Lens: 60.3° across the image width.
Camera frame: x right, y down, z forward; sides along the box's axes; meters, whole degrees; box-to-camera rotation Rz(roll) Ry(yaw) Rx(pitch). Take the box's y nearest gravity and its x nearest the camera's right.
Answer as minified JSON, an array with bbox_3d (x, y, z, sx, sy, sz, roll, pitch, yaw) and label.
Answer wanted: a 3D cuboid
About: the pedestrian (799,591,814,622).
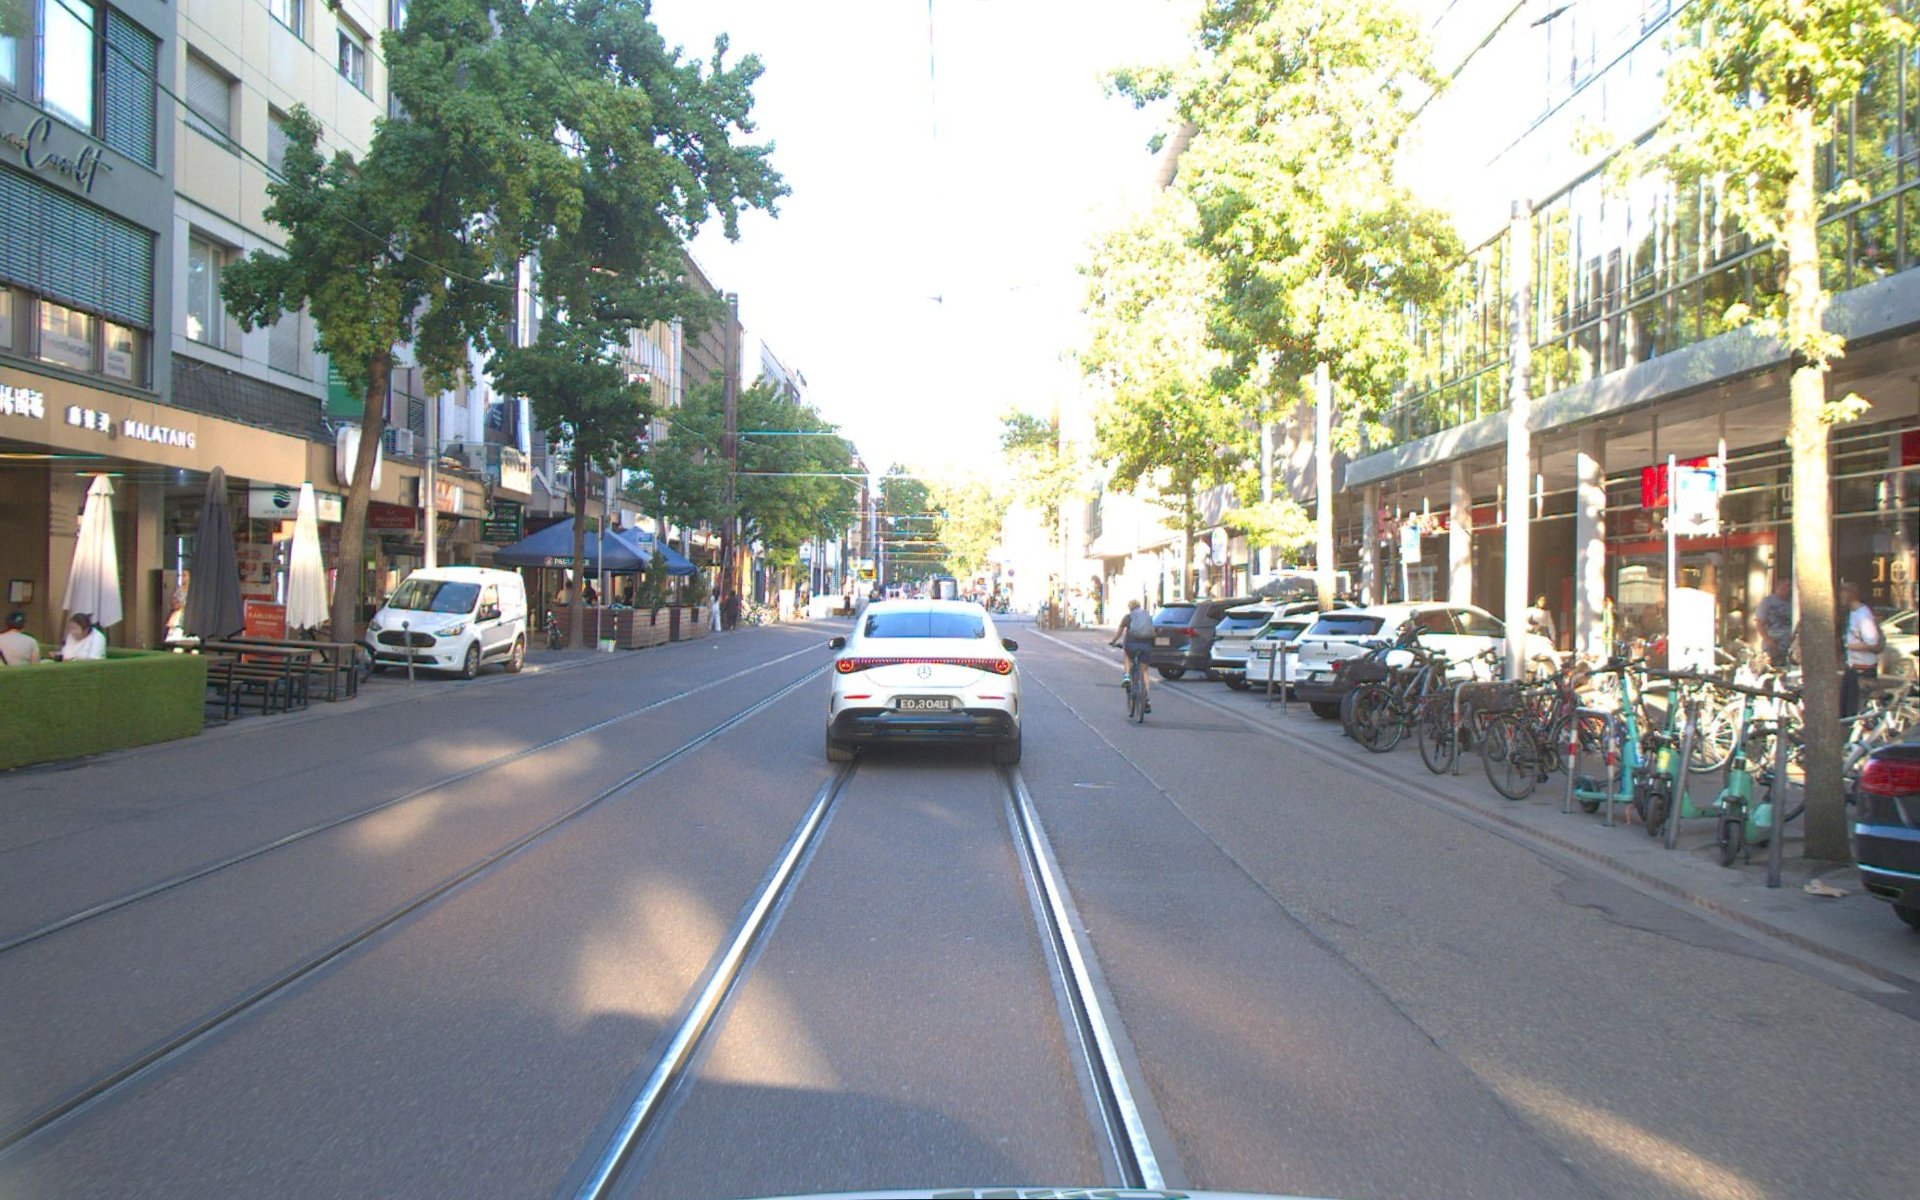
[{"bbox_3d":[-9.162,0.400,98.658,0.771,1.832,0.844,1,0,0],"label":"pedestrian"}]

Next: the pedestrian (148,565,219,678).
[{"bbox_3d":[-11.382,0.308,24.266,0.634,1.601,0.700,3,0,-1],"label":"pedestrian"}]

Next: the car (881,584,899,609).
[{"bbox_3d":[-8.643,-0.423,204.712,1.953,2.948,5.274,0,0,0],"label":"car"}]

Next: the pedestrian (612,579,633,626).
[{"bbox_3d":[-12.848,0.102,62.929,0.585,1.775,0.671,2,0,0],"label":"pedestrian"}]

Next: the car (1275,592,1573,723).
[{"bbox_3d":[6.601,0.753,23.409,4.110,1.599,1.832,-2,0,-34],"label":"car"}]

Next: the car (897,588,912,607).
[{"bbox_3d":[-7.469,-0.328,223.458,1.871,2.504,5.274,0,0,0],"label":"car"}]

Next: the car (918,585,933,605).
[{"bbox_3d":[-5.320,-0.749,255.527,2.056,2.948,5.274,0,0,0],"label":"car"}]

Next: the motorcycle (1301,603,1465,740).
[{"bbox_3d":[5.201,0.840,20.234,2.302,1.536,0.845,-2,-1,-45],"label":"motorcycle"}]

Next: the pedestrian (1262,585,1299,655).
[{"bbox_3d":[8.287,0.516,42.733,0.677,1.761,0.629,-2,0,42],"label":"pedestrian"}]

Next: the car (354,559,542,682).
[{"bbox_3d":[-8.920,0.334,29.232,1.759,1.897,4.554,3,0,1],"label":"car"}]

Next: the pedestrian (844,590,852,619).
[{"bbox_3d":[-7.778,0.303,114.669,0.560,1.963,0.540,0,0,-5],"label":"pedestrian"}]

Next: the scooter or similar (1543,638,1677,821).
[{"bbox_3d":[5.045,0.976,12.911,0.441,1.298,1.306,-3,0,-1],"label":"scooter or similar"}]

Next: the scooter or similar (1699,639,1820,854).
[{"bbox_3d":[5.404,0.954,11.152,0.449,1.298,1.302,-3,0,36],"label":"scooter or similar"}]

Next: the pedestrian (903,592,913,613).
[{"bbox_3d":[-4.470,0.240,142.945,0.784,1.813,0.848,2,0,-2],"label":"pedestrian"}]

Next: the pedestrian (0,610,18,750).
[{"bbox_3d":[-9.311,0.738,15.315,0.643,1.315,0.798,4,0,-1],"label":"pedestrian"}]

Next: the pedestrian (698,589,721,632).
[{"bbox_3d":[-9.221,0.394,60.911,0.609,1.535,0.833,3,0,0],"label":"pedestrian"}]

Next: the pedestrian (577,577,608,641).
[{"bbox_3d":[-10.319,0.245,46.449,0.703,1.755,0.675,2,0,-2],"label":"pedestrian"}]

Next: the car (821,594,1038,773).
[{"bbox_3d":[-0.278,0.710,16.234,1.819,1.481,4.174,2,0,-1],"label":"car"}]

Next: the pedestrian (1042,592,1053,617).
[{"bbox_3d":[6.250,0.319,118.045,0.733,1.817,0.766,-1,0,-1],"label":"pedestrian"}]

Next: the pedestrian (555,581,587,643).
[{"bbox_3d":[-10.495,0.314,44.631,0.659,1.635,0.719,2,0,-1],"label":"pedestrian"}]

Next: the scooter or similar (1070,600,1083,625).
[{"bbox_3d":[6.281,0.681,89.055,0.518,1.299,0.658,-1,0,-12],"label":"scooter or similar"}]

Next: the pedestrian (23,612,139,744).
[{"bbox_3d":[-8.627,0.750,16.257,0.643,1.214,0.798,4,0,-1],"label":"pedestrian"}]

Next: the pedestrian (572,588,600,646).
[{"bbox_3d":[-9.598,0.436,42.479,0.538,1.454,0.582,2,0,-1],"label":"pedestrian"}]

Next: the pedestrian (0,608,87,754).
[{"bbox_3d":[-8.645,0.726,15.265,0.643,1.266,0.872,4,0,-1],"label":"pedestrian"}]

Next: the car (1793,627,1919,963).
[{"bbox_3d":[6.656,0.836,8.774,5.006,1.494,1.952,-2,0,-37],"label":"car"}]

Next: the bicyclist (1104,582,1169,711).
[{"bbox_3d":[2.355,0.605,22.029,0.761,1.641,0.913,2,0,8],"label":"bicyclist"}]

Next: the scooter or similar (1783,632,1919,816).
[{"bbox_3d":[7.144,0.908,12.358,0.625,1.316,1.658,-2,0,-37],"label":"scooter or similar"}]

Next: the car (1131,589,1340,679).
[{"bbox_3d":[5.816,0.682,34.754,4.300,1.681,1.676,-2,0,-32],"label":"car"}]

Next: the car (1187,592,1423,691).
[{"bbox_3d":[6.470,0.732,30.889,4.194,1.615,1.864,-2,0,-32],"label":"car"}]

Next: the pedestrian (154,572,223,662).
[{"bbox_3d":[-13.292,0.285,28.503,0.754,1.492,0.764,4,0,-3],"label":"pedestrian"}]

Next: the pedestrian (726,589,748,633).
[{"bbox_3d":[-8.238,0.401,61.082,0.609,1.577,0.852,3,0,0],"label":"pedestrian"}]

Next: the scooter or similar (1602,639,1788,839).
[{"bbox_3d":[5.322,0.972,11.958,1.290,1.298,0.558,-3,0,-32],"label":"scooter or similar"}]

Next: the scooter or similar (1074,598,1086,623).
[{"bbox_3d":[6.402,0.552,88.330,0.482,1.299,0.658,-1,0,-12],"label":"scooter or similar"}]

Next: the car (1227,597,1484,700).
[{"bbox_3d":[6.742,0.784,28.148,4.093,1.525,1.676,-2,0,-25],"label":"car"}]

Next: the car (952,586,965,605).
[{"bbox_3d":[-0.230,-0.658,255.899,2.056,2.948,5.284,0,0,0],"label":"car"}]

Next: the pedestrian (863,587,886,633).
[{"bbox_3d":[-3.505,0.409,67.912,0.824,1.832,0.790,2,0,0],"label":"pedestrian"}]

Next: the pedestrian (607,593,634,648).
[{"bbox_3d":[-8.720,0.512,42.438,0.538,1.380,0.582,2,0,-1],"label":"pedestrian"}]

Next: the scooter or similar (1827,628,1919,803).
[{"bbox_3d":[7.656,0.883,12.701,0.557,1.316,1.658,-2,0,-37],"label":"scooter or similar"}]
